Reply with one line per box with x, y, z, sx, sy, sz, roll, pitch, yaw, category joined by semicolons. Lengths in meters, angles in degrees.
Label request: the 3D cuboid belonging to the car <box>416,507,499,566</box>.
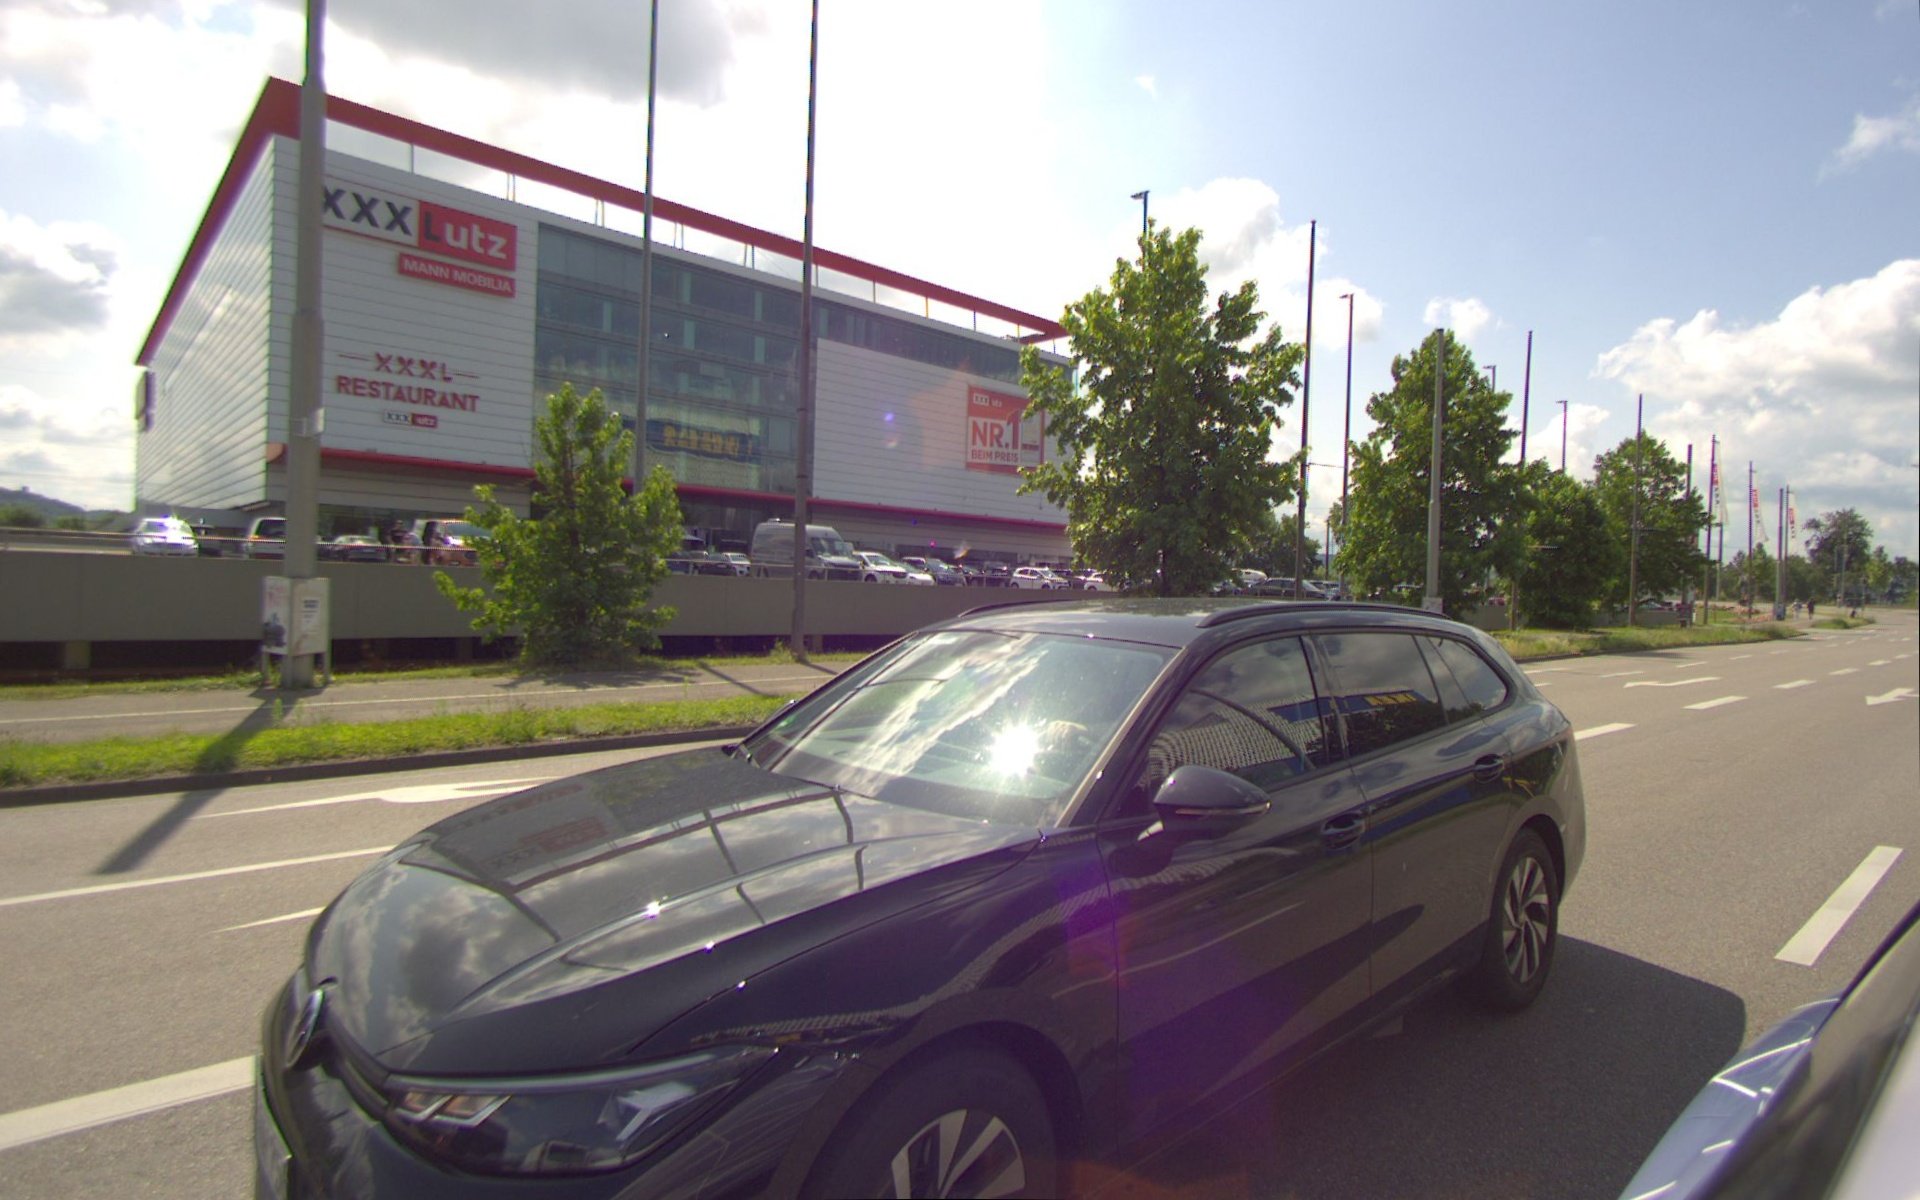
-17.252;-2.123;34.664;1.881;1.772;4.187;0;0;-36;car

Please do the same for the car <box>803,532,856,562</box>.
-8.168;-3.279;63.238;1.915;1.625;4.430;0;1;-27;car

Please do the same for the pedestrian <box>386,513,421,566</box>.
-18.954;-2.051;34.465;1.014;1.764;0.698;0;0;36;pedestrian

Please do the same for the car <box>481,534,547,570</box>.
-22.448;-2.369;50.876;1.920;1.625;4.418;0;1;-40;car

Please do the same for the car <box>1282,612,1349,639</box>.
25.586;1.799;72.959;1.534;1.786;4.412;0;0;-44;car

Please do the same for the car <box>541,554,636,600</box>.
-14.178;-0.856;38.459;1.921;1.625;4.416;0;1;-41;car

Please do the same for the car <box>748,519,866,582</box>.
-6.232;-1.887;40.605;1.720;2.312;5.784;0;0;-44;car

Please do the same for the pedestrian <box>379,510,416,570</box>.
-19.583;-2.091;35.251;0.895;2.039;0.706;0;0;4;pedestrian

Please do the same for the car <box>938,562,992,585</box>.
0.324;-1.890;73.205;1.916;1.625;4.428;0;1;-30;car

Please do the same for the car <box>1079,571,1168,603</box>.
8.467;-0.687;52.683;1.921;1.625;4.416;0;1;-41;car

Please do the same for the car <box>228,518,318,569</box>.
-24.177;-1.921;35.553;1.922;1.625;4.412;0;1;-44;car

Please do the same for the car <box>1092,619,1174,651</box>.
9.954;2.011;58.491;1.922;1.625;4.414;0;1;-43;car

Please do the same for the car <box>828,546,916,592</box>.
-3.705;-1.243;42.164;1.718;1.816;3.995;0;0;-40;car

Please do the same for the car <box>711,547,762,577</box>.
-13.213;-2.204;59.647;1.915;1.625;4.430;0;1;-27;car

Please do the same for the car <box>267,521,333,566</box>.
-29.008;-2.452;44.453;1.883;1.772;3.993;0;0;-41;car

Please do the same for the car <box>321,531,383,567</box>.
-27.811;-2.279;46.232;1.534;1.489;4.412;0;1;-44;car

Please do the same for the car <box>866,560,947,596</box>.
-2.631;-1.014;48.375;1.917;1.625;4.425;0;1;-33;car

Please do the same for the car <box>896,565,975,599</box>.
-1.270;-0.878;50.689;1.917;1.625;4.425;0;1;-33;car

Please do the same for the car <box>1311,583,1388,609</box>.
25.767;-0.278;67.087;1.921;1.625;4.416;0;1;-41;car

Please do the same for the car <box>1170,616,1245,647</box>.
15.404;1.945;63.146;1.534;1.786;4.412;0;0;-44;car

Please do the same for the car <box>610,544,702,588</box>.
-12.149;-1.311;40.272;1.920;1.625;4.418;0;1;-40;car

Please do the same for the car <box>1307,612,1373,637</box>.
28.344;1.802;75.641;1.534;1.786;4.412;0;0;-44;car

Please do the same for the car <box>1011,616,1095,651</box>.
4.872;1.742;53.391;1.919;1.625;4.420;0;1;-38;car

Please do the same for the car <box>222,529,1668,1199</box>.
0.670;0.654;3.531;5.114;1.496;1.811;0;1;-42;car

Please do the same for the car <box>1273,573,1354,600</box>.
22.235;-0.865;63.778;1.921;1.625;4.416;0;1;-41;car

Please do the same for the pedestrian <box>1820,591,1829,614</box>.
68.410;0.187;80.075;0.524;1.836;0.668;0;0;39;pedestrian

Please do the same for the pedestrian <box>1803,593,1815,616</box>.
67.619;0.364;80.632;0.701;1.836;0.538;0;0;40;pedestrian

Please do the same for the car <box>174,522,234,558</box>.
-38.011;-2.973;50.838;1.922;1.625;4.412;0;1;-44;car

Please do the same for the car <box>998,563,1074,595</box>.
4.289;-1.161;57.739;1.534;1.786;4.412;0;0;-44;car

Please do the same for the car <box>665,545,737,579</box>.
-13.477;-1.925;52.511;1.920;1.625;4.418;0;1;-40;car

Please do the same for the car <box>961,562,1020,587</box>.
2.024;-1.688;67.705;1.916;1.625;4.428;0;1;-30;car

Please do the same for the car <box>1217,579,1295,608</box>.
16.992;-0.358;58.214;1.746;1.624;3.996;0;0;-39;car

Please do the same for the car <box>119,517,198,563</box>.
-30.017;-2.194;37.873;1.922;1.489;4.412;0;1;-44;car

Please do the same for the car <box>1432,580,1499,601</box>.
40.371;-0.774;80.955;1.921;1.625;4.416;0;1;-41;car

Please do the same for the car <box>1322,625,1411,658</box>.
23.513;2.362;58.695;1.921;1.625;4.416;0;1;-41;car

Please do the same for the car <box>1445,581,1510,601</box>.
42.686;-0.739;83.489;1.921;1.625;4.416;0;1;-41;car

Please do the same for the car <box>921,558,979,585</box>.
-0.655;-1.797;64.054;1.915;1.625;4.430;0;1;-27;car
